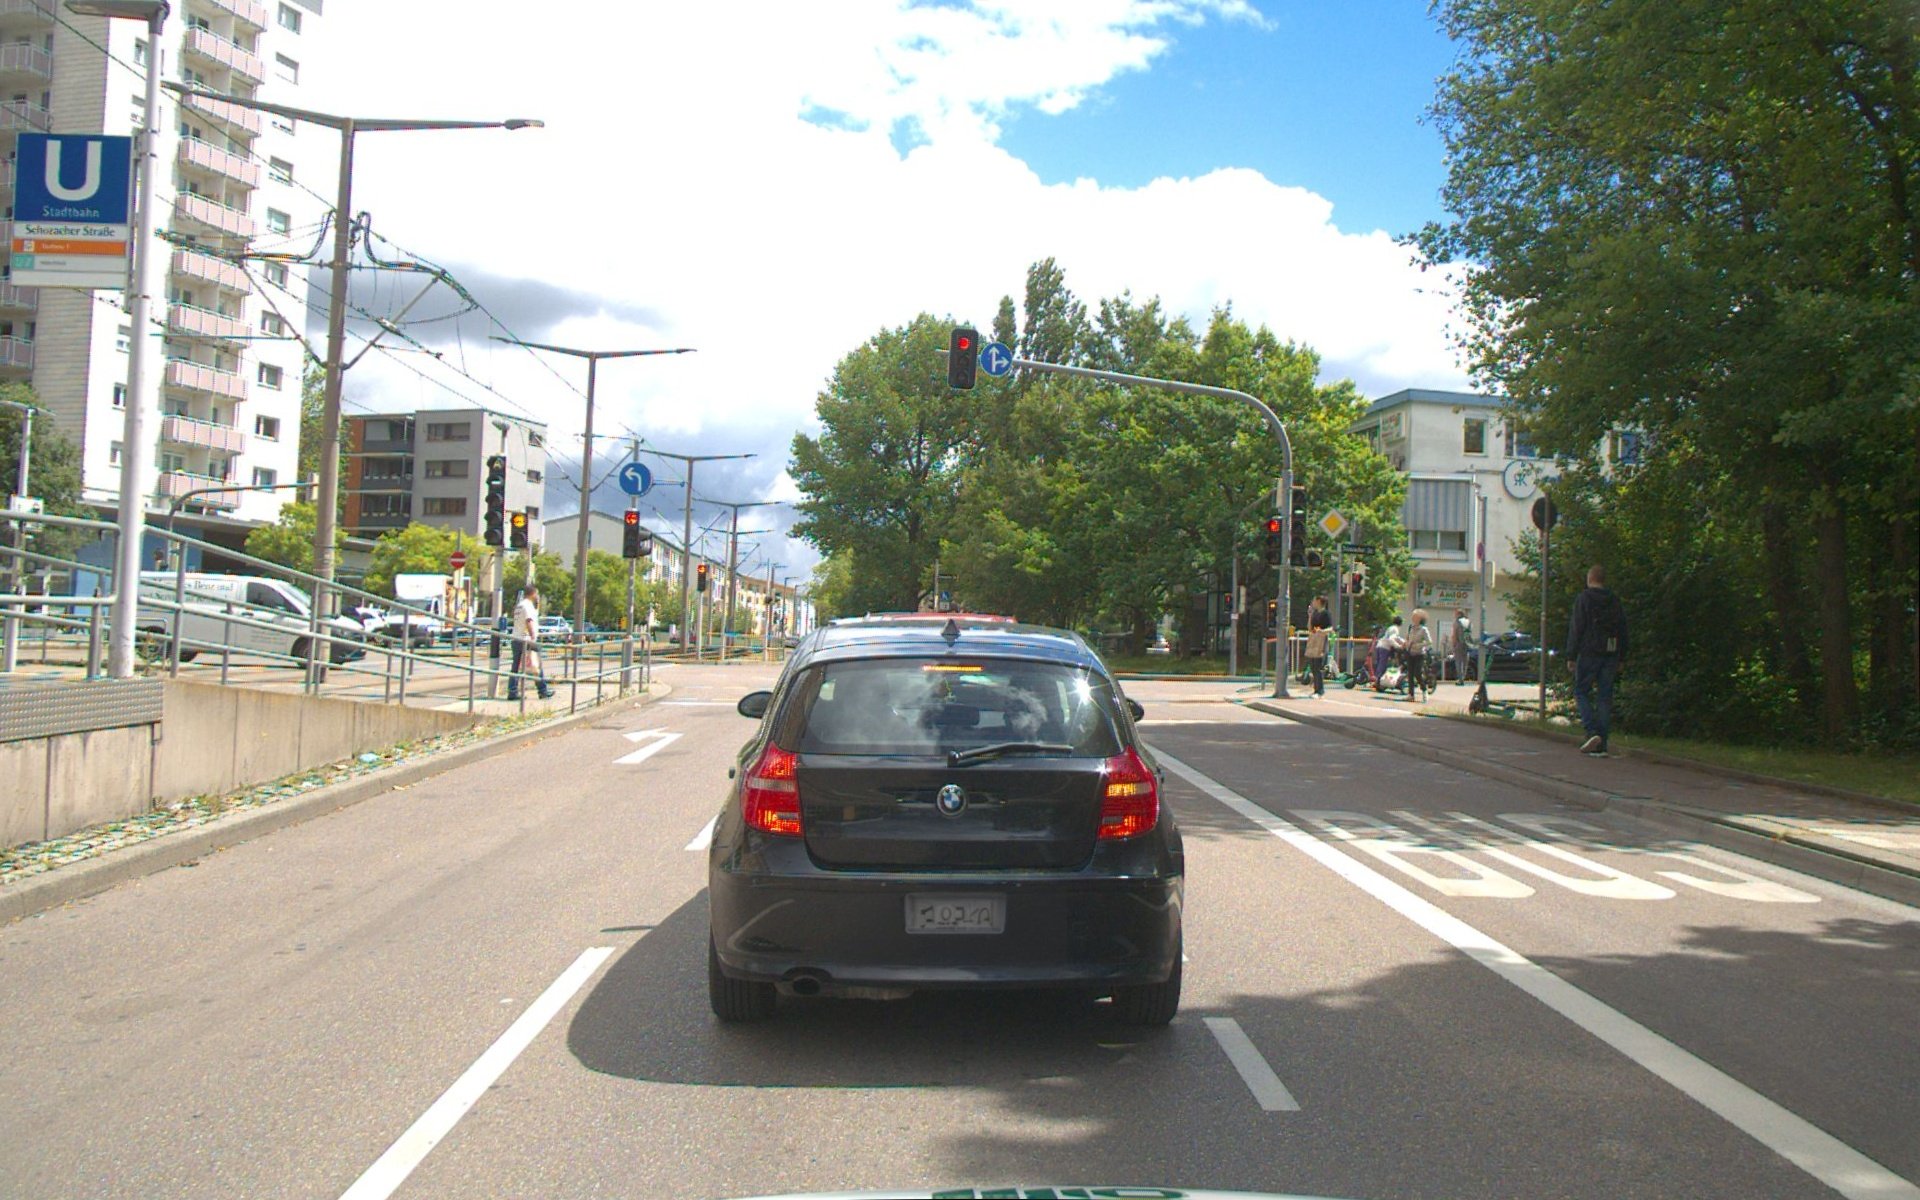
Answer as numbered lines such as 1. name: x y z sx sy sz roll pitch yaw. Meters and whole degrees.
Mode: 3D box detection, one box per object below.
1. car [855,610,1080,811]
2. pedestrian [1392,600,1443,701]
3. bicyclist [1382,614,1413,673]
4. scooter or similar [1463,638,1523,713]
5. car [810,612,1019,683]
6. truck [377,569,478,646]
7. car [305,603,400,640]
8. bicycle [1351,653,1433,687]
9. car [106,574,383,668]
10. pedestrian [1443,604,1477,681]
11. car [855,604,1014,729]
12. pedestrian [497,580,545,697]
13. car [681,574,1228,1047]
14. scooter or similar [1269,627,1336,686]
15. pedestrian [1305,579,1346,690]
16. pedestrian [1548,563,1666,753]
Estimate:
1. car: 0.071 0.808 13.628 1.604 1.424 3.420 1 0 1
2. pedestrian: 8.671 0.962 31.368 0.623 1.795 0.518 9 -4 5
3. bicyclist: 8.793 0.866 33.250 0.498 1.177 0.393 1 -1 -42
4. scooter or similar: 9.217 1.297 28.606 0.451 1.252 0.878 1 -1 -44
5. car: -1.064 1.079 38.217 4.694 1.549 1.999 1 0 -3
6. truck: -23.266 0.320 72.659 2.235 3.172 7.315 1 0 -2
7. car: -28.640 1.002 78.054 3.831 1.676 1.656 1 -1 -1
8. bicycle: 8.707 1.402 33.395 0.530 0.620 1.565 1 -1 -43
9. car: -15.338 0.449 35.709 5.072 1.926 1.997 1 0 -7
10. pedestrian: 11.435 0.975 37.806 0.453 1.743 0.656 1 -1 -15
11. car: -0.243 0.797 21.768 1.861 1.447 4.539 1 0 1
12. pedestrian: -6.707 0.587 25.305 0.676 1.764 0.685 1 -1 -15
13. car: 0.027 0.708 6.794 1.665 1.424 3.420 1 -2 1
14. scooter or similar: 7.317 1.212 35.371 1.246 1.081 0.544 8 0 -32
15. pedestrian: 6.358 0.591 28.807 0.622 1.909 0.518 1 -1 4
16. pedestrian: 6.683 0.586 17.117 0.779 1.909 1.013 1 -1 -3
